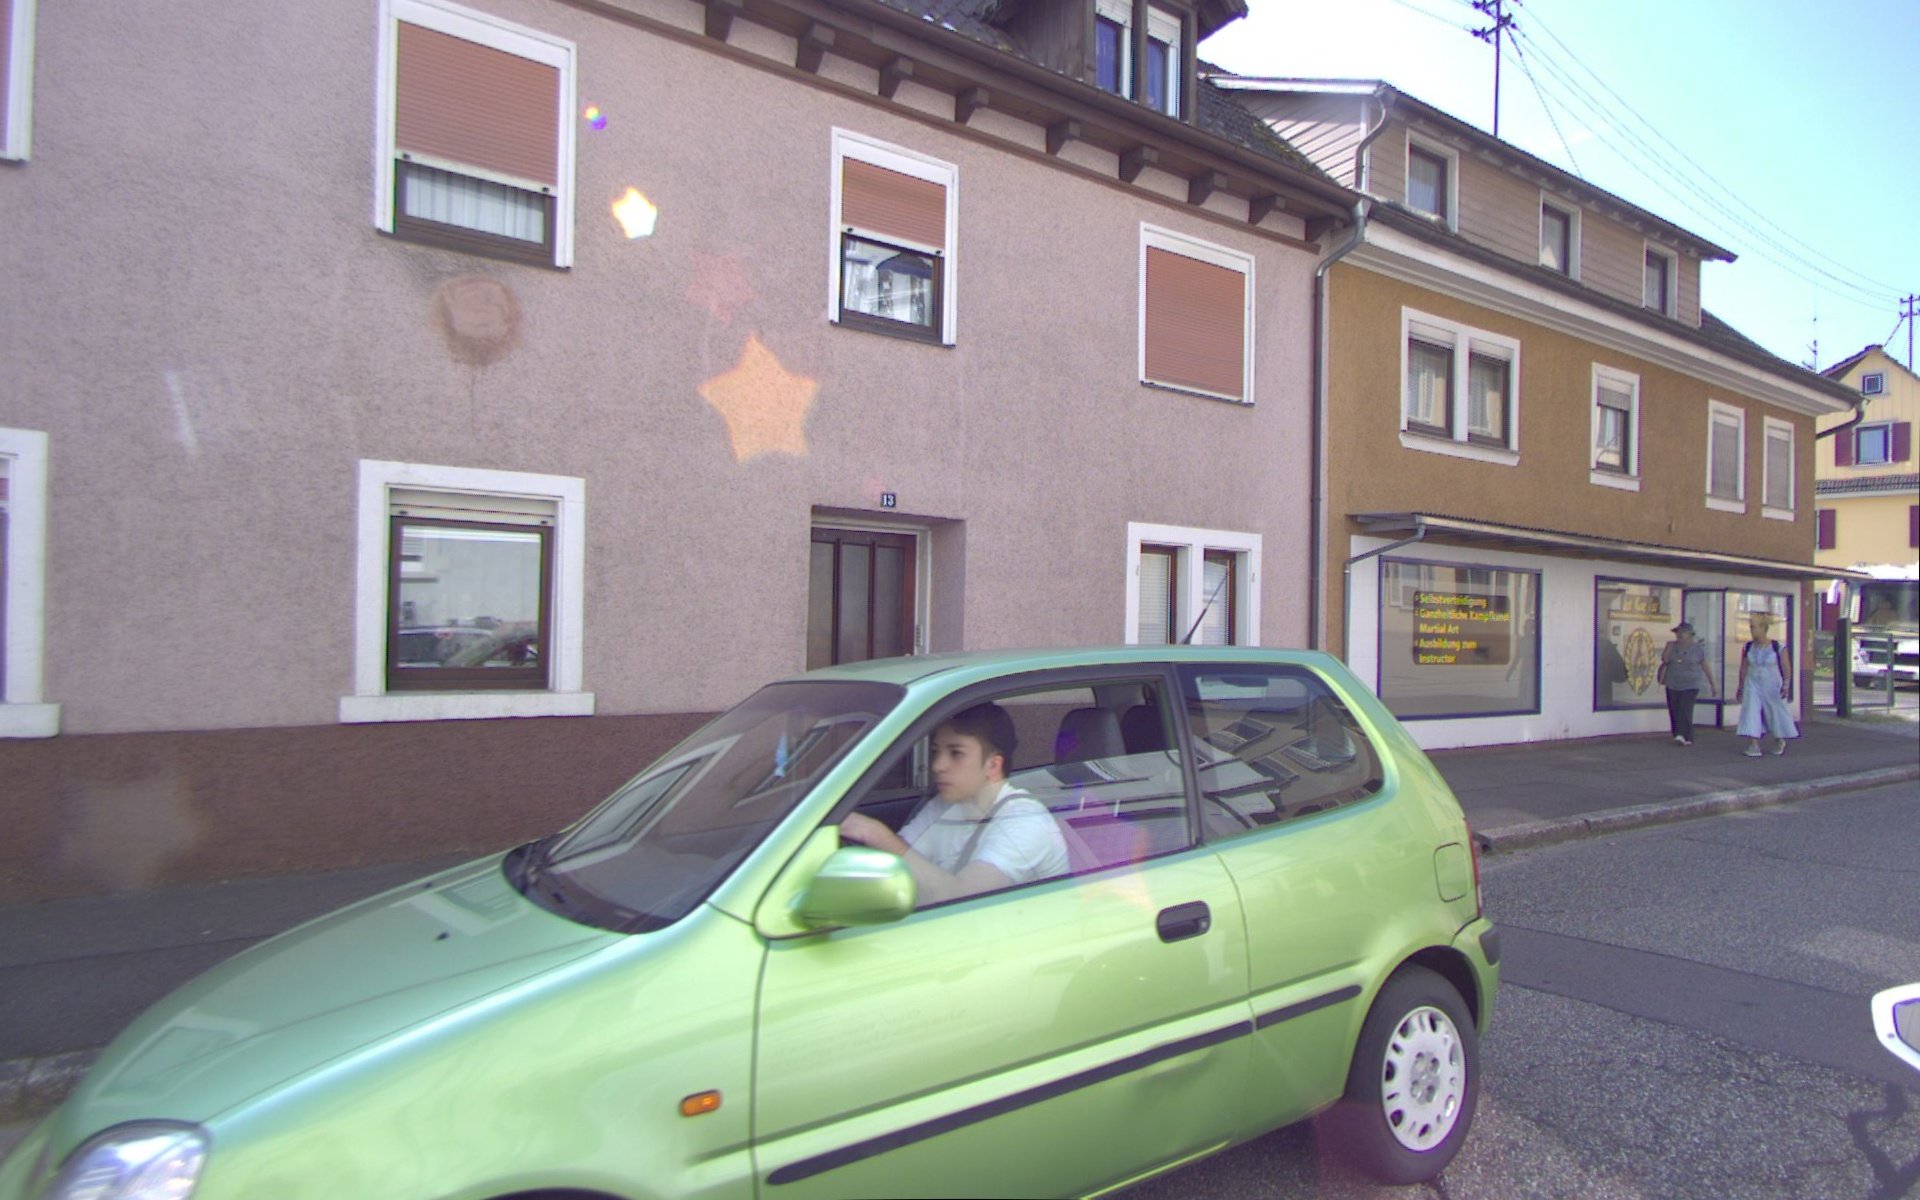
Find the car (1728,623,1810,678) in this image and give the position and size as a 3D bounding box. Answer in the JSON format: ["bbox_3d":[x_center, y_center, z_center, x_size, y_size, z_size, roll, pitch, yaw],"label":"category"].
[{"bbox_3d":[23.937,1.446,29.662,1.745,1.451,3.980,2,0,41],"label":"car"}]

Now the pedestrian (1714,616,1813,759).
[{"bbox_3d":[9.801,1.037,12.256,0.768,1.648,0.636,1,2,-30],"label":"pedestrian"}]

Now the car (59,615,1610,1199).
[{"bbox_3d":[0.030,0.852,2.873,3.617,1.483,1.589,1,-4,-31],"label":"car"}]

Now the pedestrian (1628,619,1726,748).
[{"bbox_3d":[9.325,1.063,13.071,0.815,1.585,0.731,1,1,-30],"label":"pedestrian"}]

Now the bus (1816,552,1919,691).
[{"bbox_3d":[25.991,0.596,26.538,8.942,3.271,2.803,1,0,-34],"label":"bus"}]
